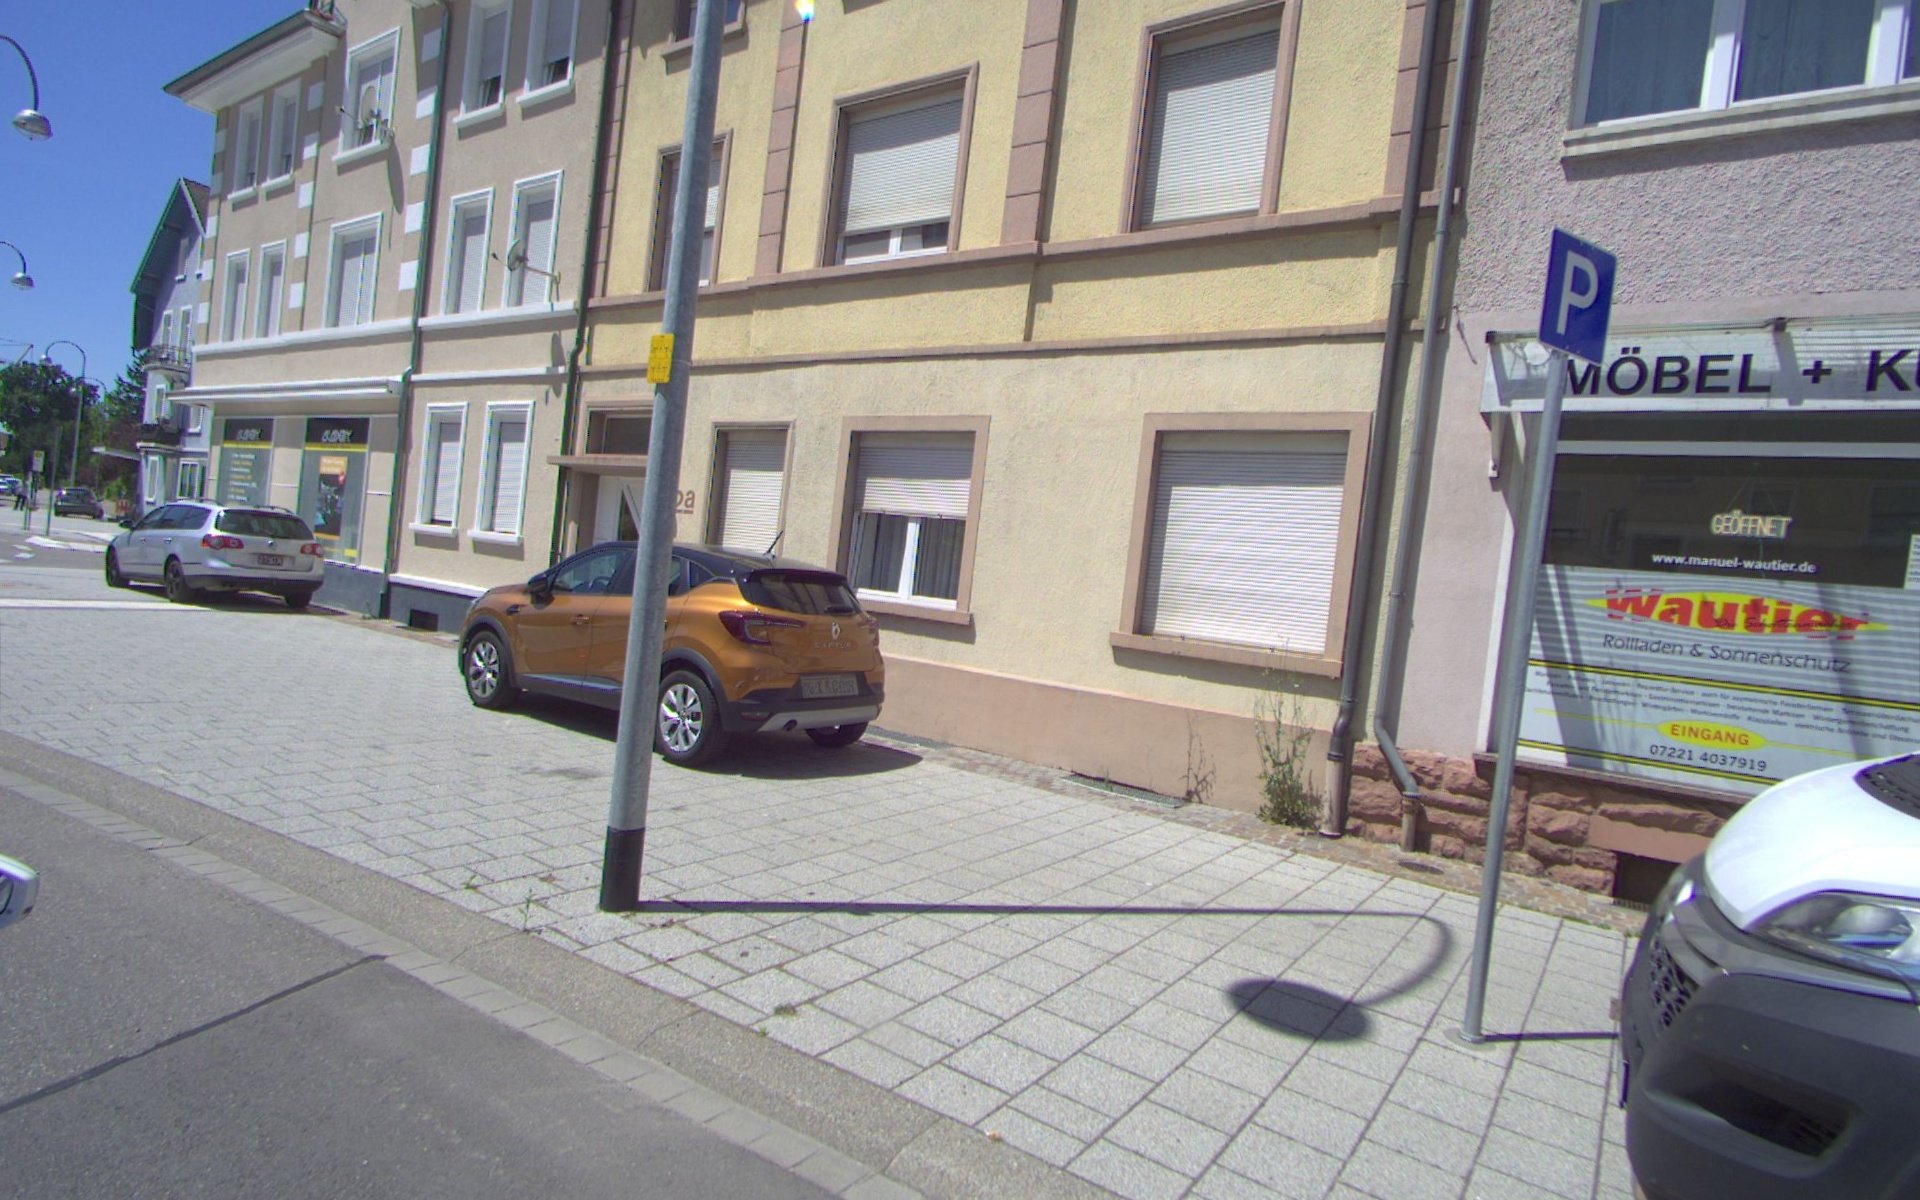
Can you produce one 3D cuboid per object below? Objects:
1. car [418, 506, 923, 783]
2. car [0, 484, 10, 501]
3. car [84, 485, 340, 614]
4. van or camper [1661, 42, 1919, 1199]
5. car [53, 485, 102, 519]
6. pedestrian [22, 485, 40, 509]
[{"bbox_3d":[-2.589,0.210,8.497,4.293,1.641,1.672,7,3,34],"label":"car"},{"bbox_3d":[-98.284,-11.045,102.286,1.985,1.671,3.956,7,0,-40],"label":"car"},{"bbox_3d":[-11.887,-0.833,15.886,4.615,1.550,1.764,7,2,34],"label":"car"},{"bbox_3d":[4.450,0.664,1.129,5.672,2.623,2.165,7,2,33],"label":"van or camper"},{"bbox_3d":[-45.214,-5.007,51.586,1.630,1.528,3.525,3,3,-38],"label":"car"},{"bbox_3d":[-53.765,-5.931,58.209,0.661,1.304,0.582,2,4,-31],"label":"pedestrian"}]
